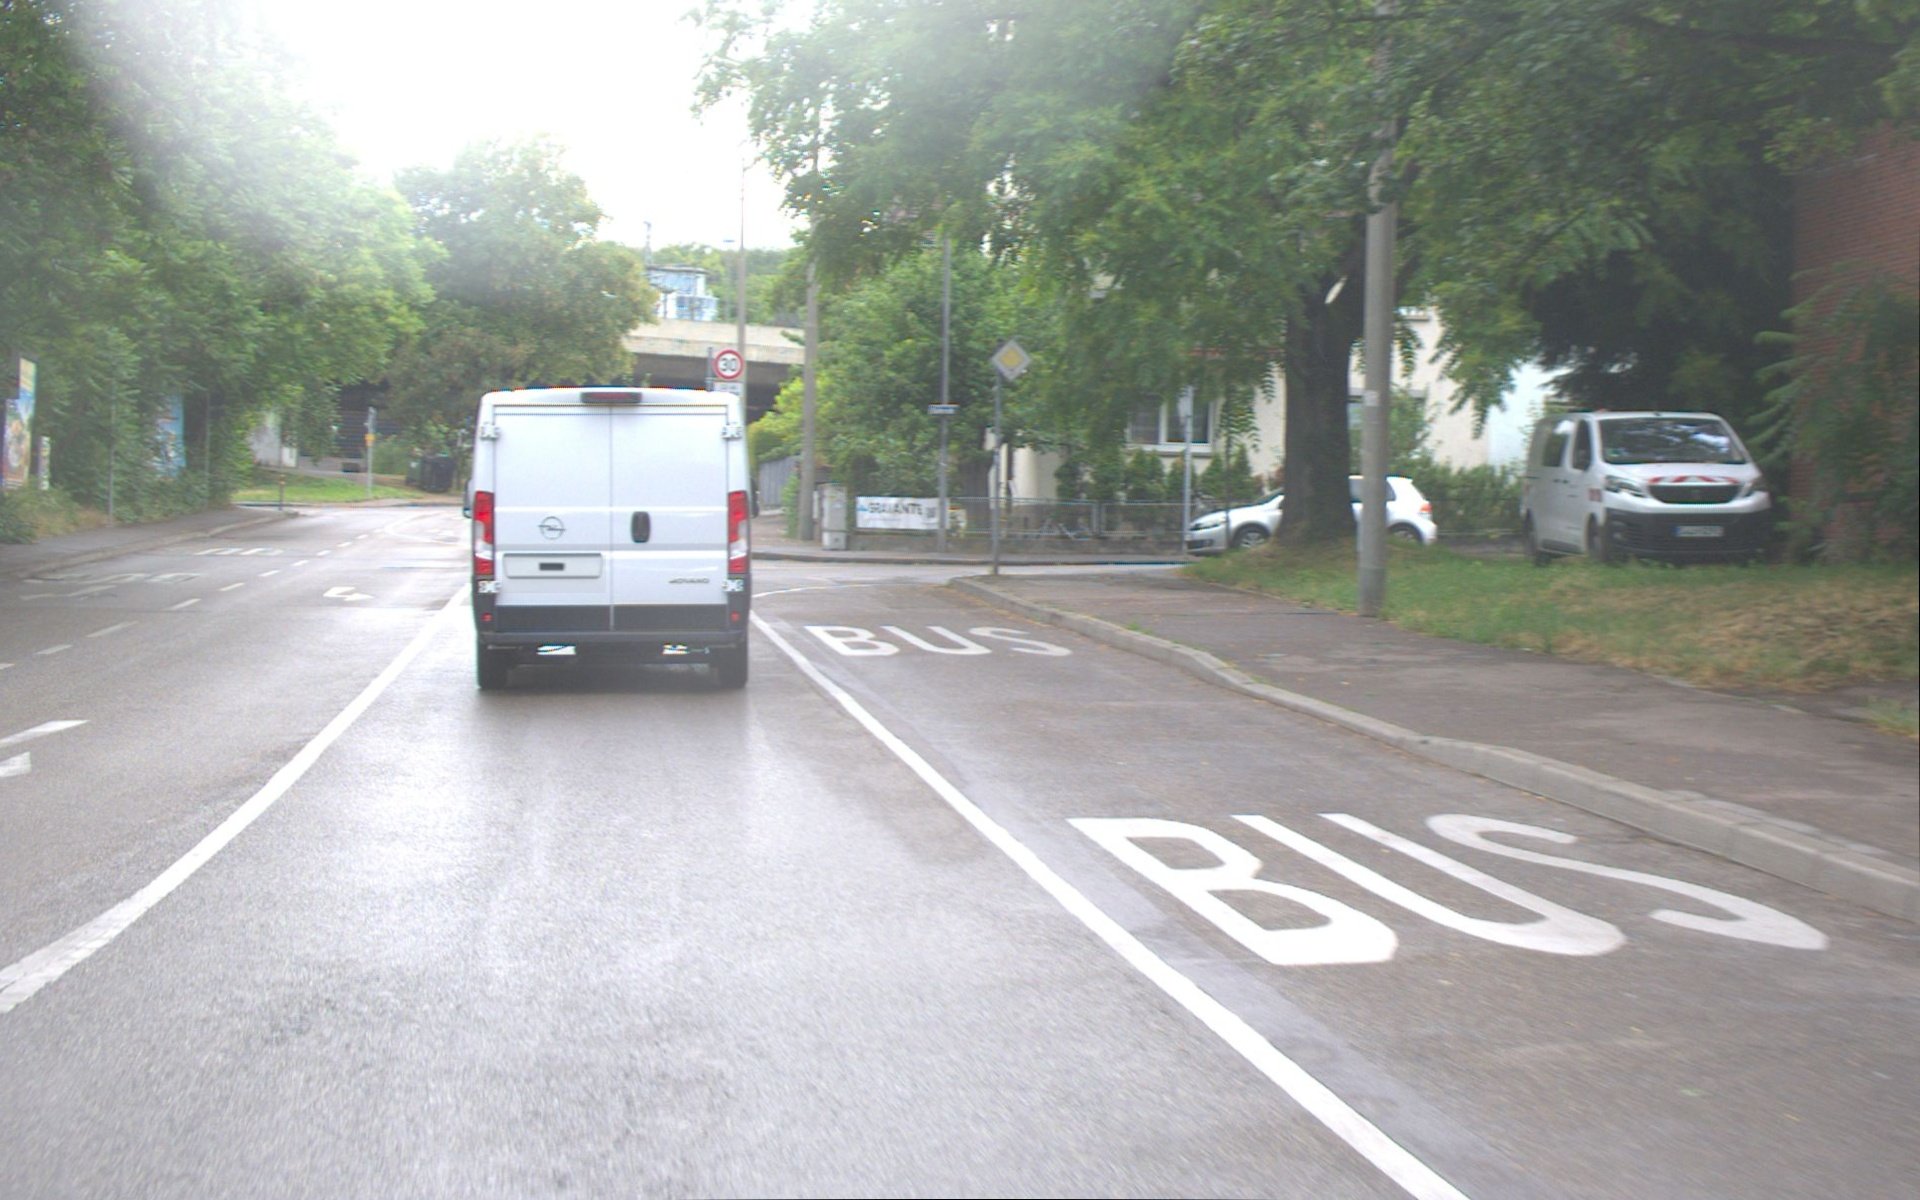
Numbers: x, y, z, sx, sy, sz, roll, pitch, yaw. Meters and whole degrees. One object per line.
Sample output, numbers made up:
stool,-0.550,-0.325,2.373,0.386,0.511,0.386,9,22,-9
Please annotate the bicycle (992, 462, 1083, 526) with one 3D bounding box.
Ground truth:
bicycle,1.369,-1.877,60.861,1.570,1.111,0.457,0,3,-2

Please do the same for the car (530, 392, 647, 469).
car,-15.280,-6.966,141.990,2.535,3.007,7.207,3,3,13

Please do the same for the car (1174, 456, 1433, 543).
car,5.721,-1.678,57.454,3.986,1.418,1.705,-1,1,-9

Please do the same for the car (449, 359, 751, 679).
car,-2.791,-0.641,27.045,2.146,2.275,5.064,0,1,-5

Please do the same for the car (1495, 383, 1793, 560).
car,7.705,-1.479,39.258,1.993,1.798,5.148,3,2,-4
